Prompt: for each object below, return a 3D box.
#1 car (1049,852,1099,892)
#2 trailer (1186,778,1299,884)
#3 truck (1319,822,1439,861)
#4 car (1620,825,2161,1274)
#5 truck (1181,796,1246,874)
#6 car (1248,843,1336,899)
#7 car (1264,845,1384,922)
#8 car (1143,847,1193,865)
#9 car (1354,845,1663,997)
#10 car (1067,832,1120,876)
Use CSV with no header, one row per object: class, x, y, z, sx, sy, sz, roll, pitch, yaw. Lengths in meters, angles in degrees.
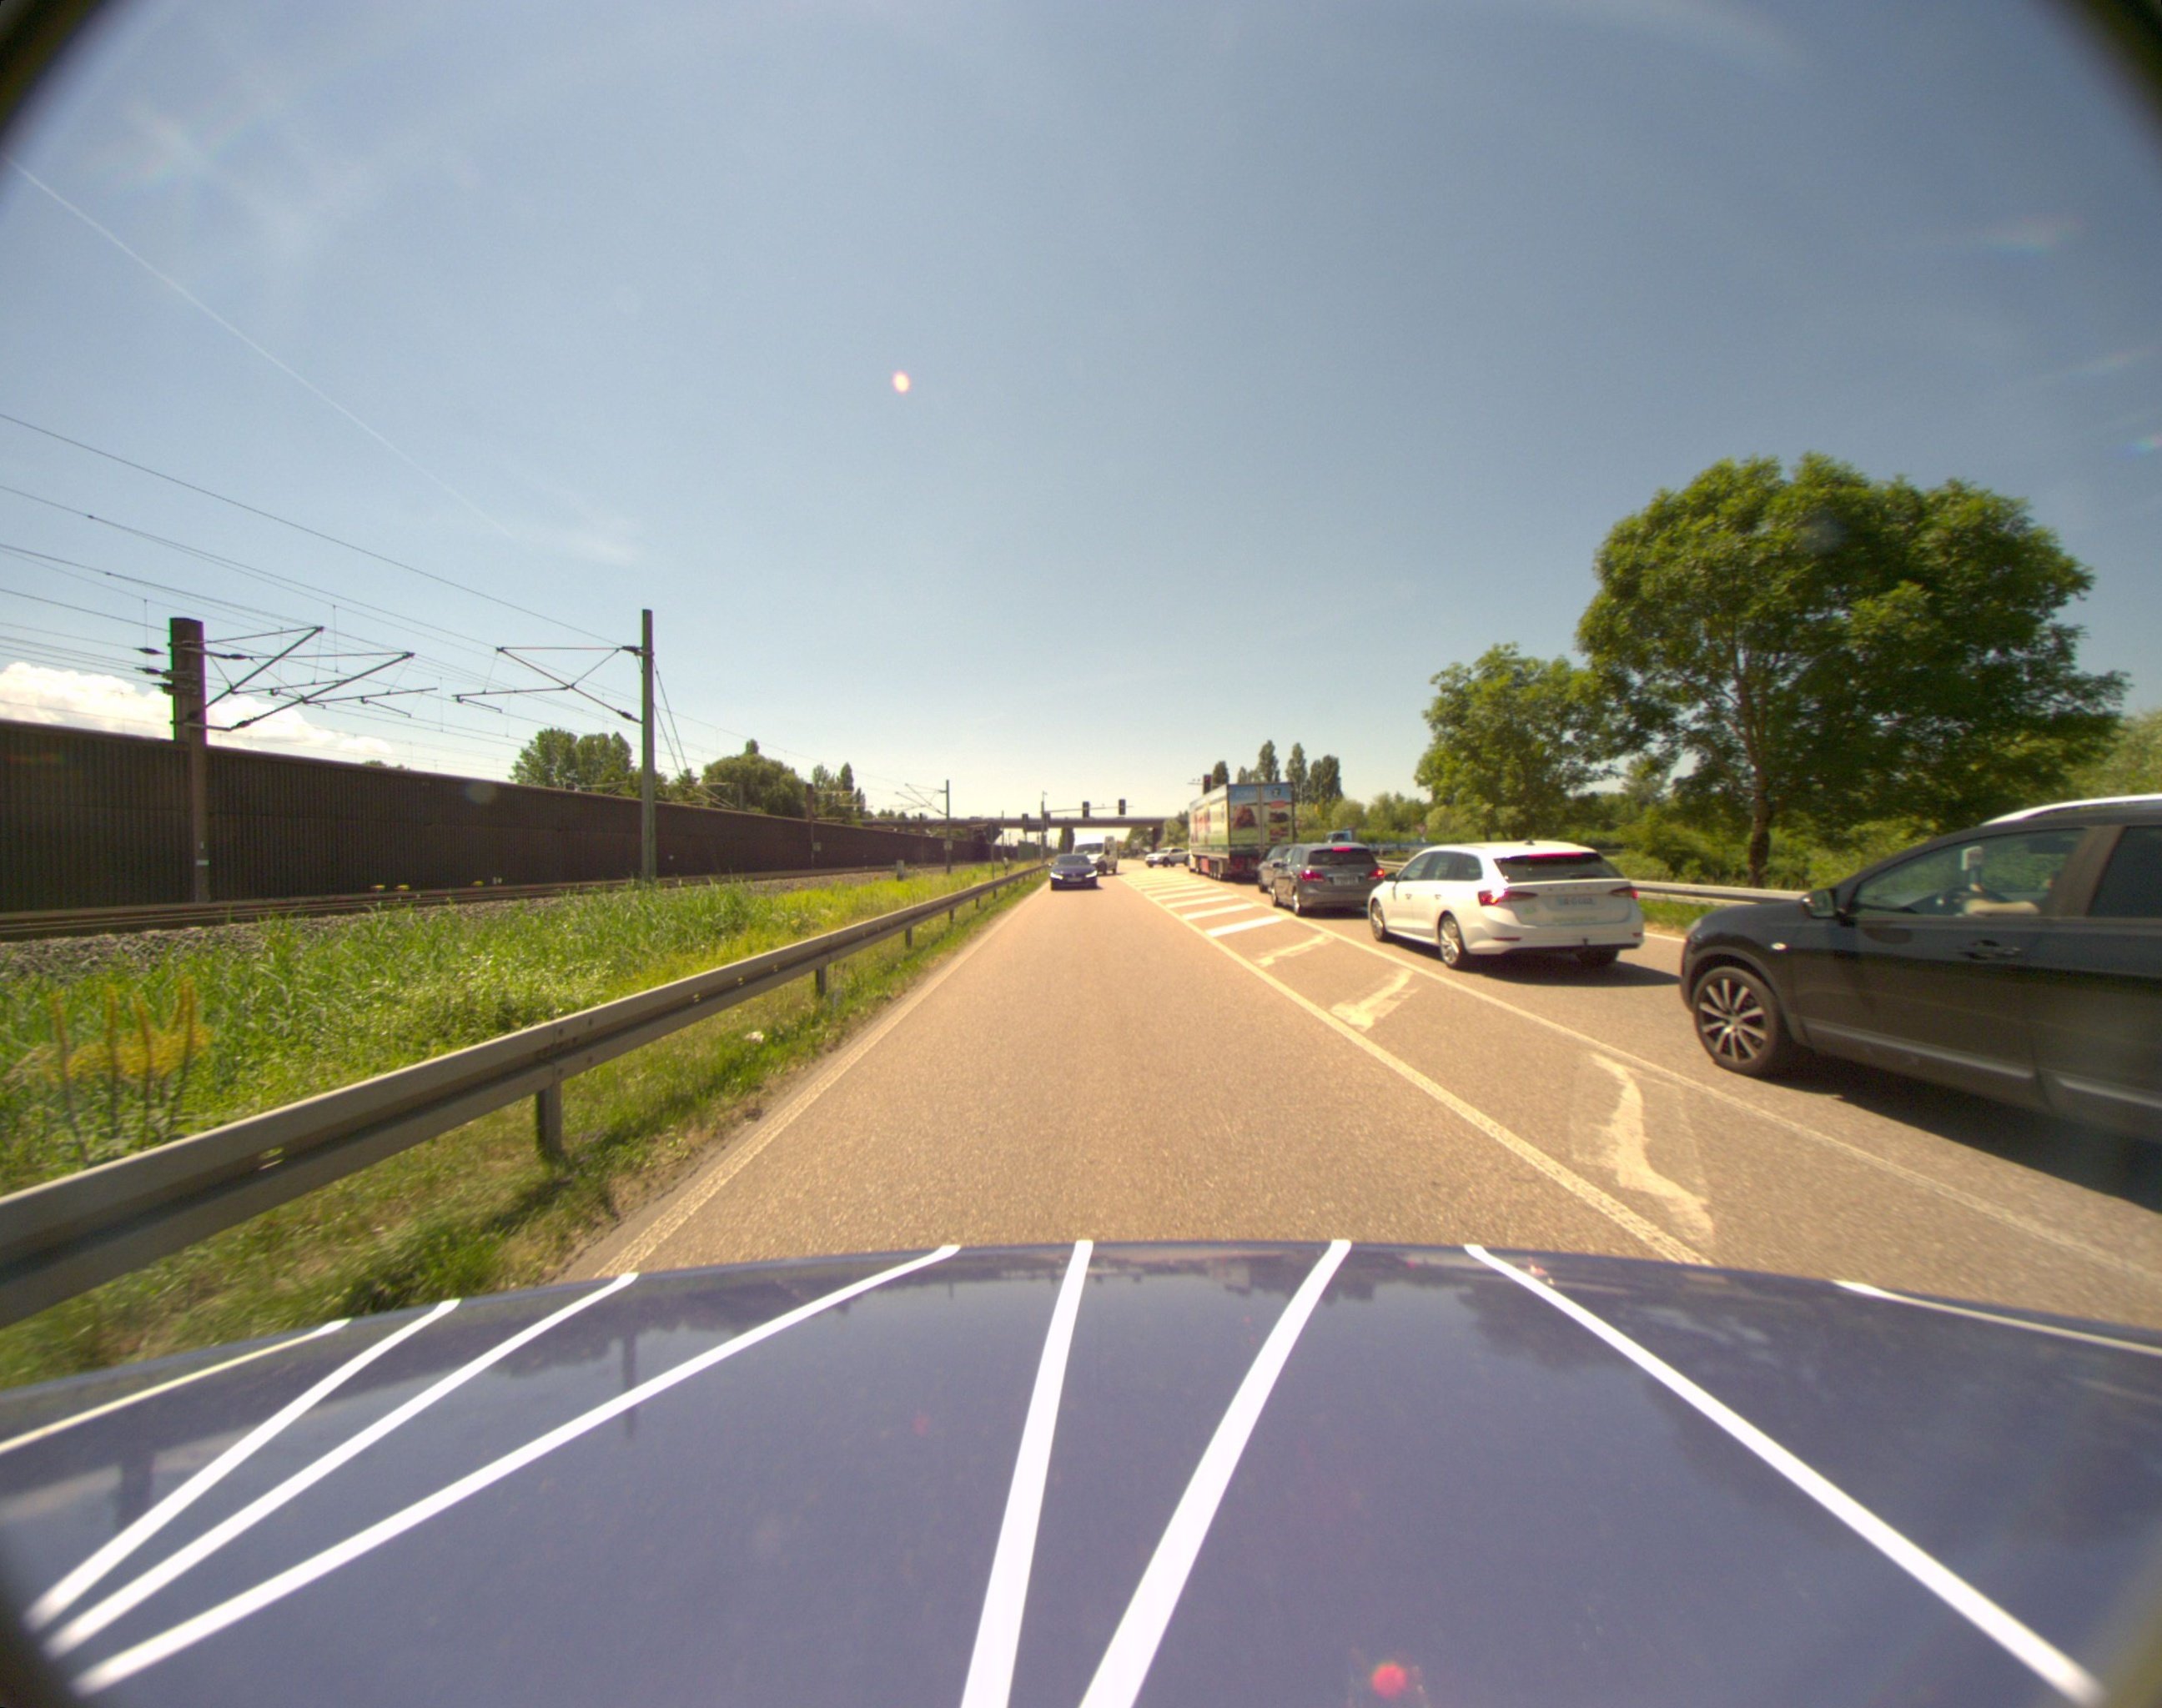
car,-0.217,0.666,31.051,1.847,1.415,4.562,-2,0,1
trailer,7.244,-0.977,36.572,2.696,4.021,14.124,-2,1,2
truck,25.370,-1.032,65.070,9.165,3.177,2.696,-1,1,5
car,4.726,0.674,3.329,1.720,1.580,4.535,-2,0,4
truck,7.419,-1.057,43.363,2.696,4.022,5.825,-2,1,2
car,6.486,0.481,23.778,1.716,1.553,4.155,-2,1,2
car,5.335,0.577,17.243,1.627,1.529,4.385,-1,0,5
car,6.931,0.141,60.532,3.967,1.427,1.717,-1,1,-40
car,5.088,0.660,9.899,1.657,1.470,4.631,-2,0,4
car,0.868,-0.021,46.963,2.226,2.480,5.987,-1,0,11
